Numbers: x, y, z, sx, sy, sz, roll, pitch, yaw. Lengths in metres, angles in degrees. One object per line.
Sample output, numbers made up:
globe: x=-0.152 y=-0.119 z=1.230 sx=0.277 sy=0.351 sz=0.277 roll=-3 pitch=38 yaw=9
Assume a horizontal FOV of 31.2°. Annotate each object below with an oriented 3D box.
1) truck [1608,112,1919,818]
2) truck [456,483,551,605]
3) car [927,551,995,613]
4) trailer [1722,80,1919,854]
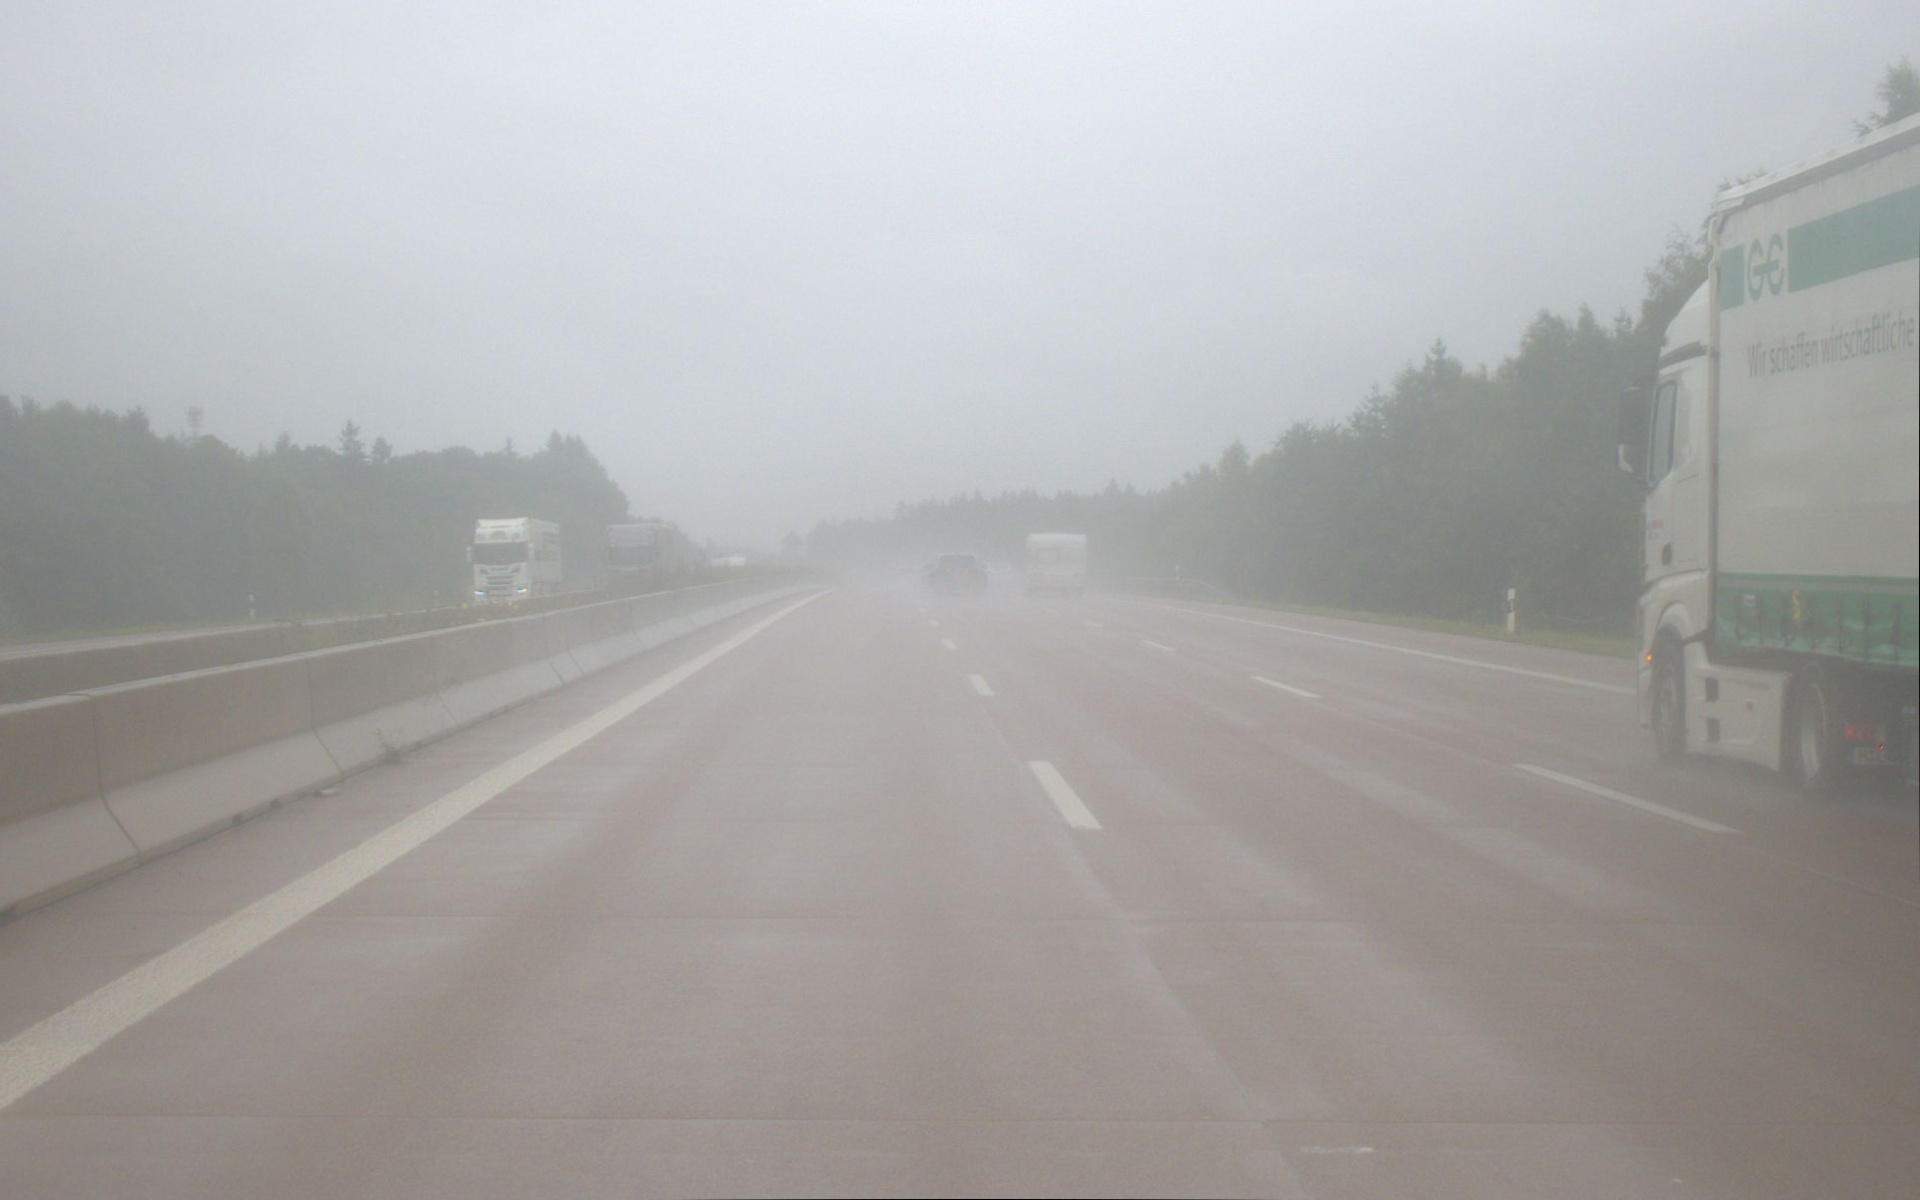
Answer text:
truck: x=6.519 y=-0.887 z=23.175 sx=2.880 sy=4.092 sz=6.350 roll=-1 pitch=1 yaw=-1
truck: x=-20.854 y=-2.531 z=157.438 sx=3.419 sy=5.360 sz=8.158 roll=1 pitch=0 yaw=-2
car: x=0.009 y=-0.615 z=114.197 sx=2.173 sy=1.974 sz=4.130 roll=-1 pitch=1 yaw=-1
trailer: x=6.728 y=-0.682 z=16.366 sx=2.852 sy=4.217 sz=13.133 roll=-1 pitch=1 yaw=-2
